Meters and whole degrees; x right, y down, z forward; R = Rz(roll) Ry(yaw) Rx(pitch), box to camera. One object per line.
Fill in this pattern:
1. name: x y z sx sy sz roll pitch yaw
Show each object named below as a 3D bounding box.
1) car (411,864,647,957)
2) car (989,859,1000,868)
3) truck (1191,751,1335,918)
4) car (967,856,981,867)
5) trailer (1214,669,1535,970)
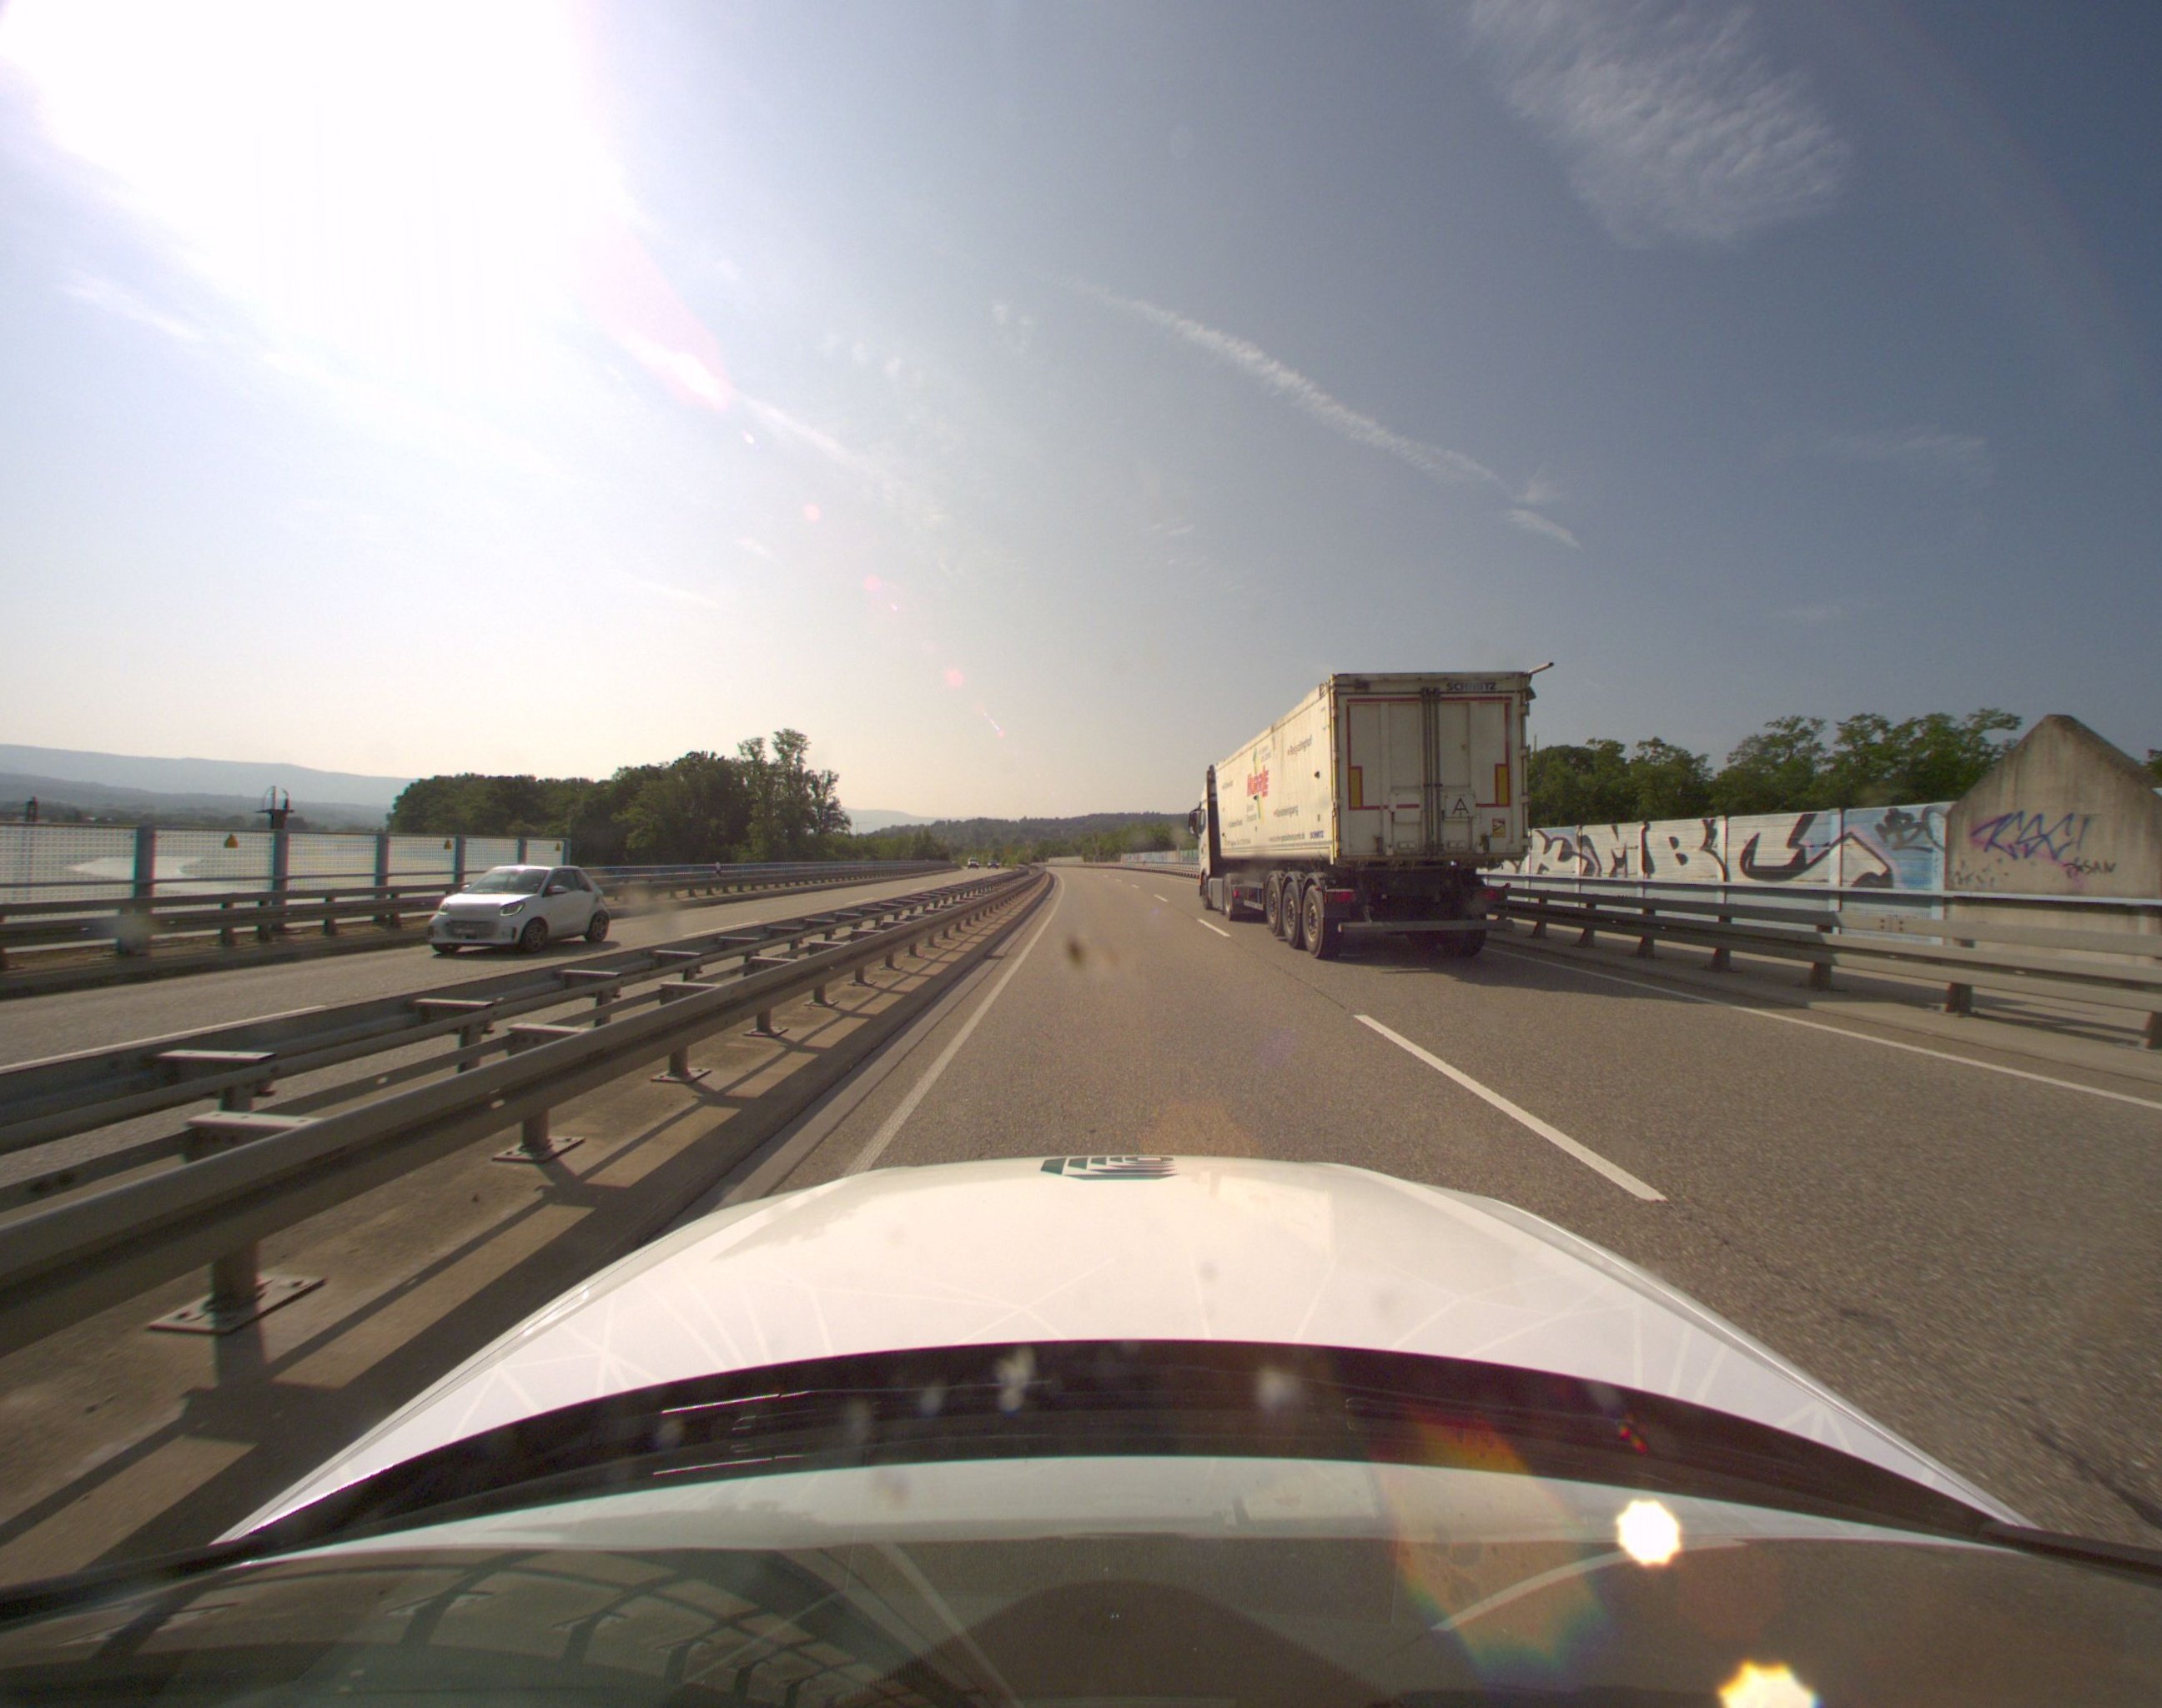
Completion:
1. car: -10.285 0.968 15.601 1.641 1.502 4.002 1 0 2
2. car: -16.343 1.787 153.322 1.861 1.607 4.411 0 0 -4
3. truck: 4.657 -0.472 21.972 2.650 3.896 5.648 0 0 0
4. car: -19.280 1.368 146.714 2.034 2.006 5.300 0 0 -4
5. trailer: 4.625 -0.466 15.489 2.670 3.907 9.672 -1 0 0
